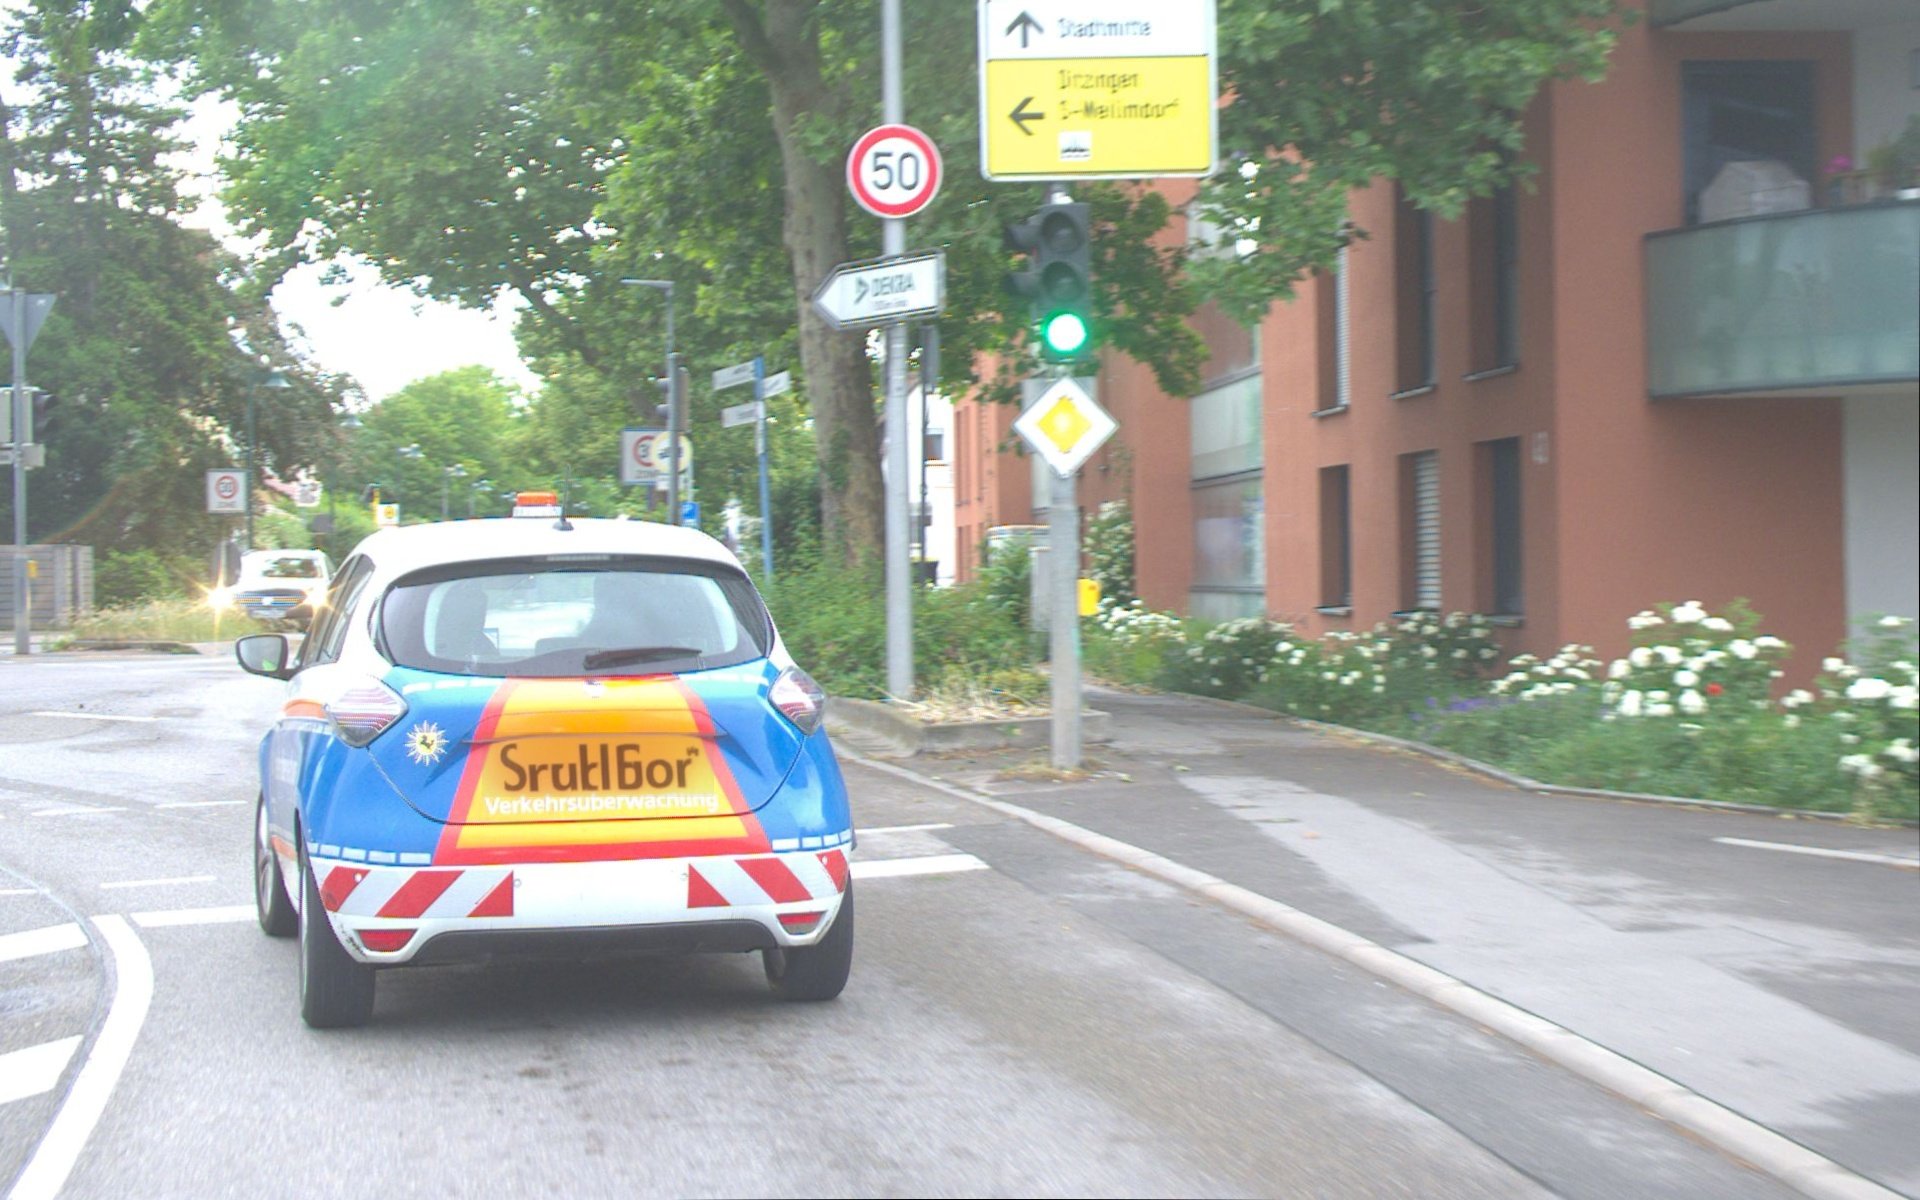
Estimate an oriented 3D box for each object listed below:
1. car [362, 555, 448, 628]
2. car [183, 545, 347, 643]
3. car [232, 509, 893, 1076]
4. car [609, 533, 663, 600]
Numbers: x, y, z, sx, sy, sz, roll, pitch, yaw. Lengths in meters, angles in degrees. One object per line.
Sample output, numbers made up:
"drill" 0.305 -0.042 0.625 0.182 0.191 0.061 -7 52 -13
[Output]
"car" -13.193 -0.233 81.915 1.877 1.663 3.715 0 1 -7
"car" -10.874 -0.106 54.041 1.941 1.447 4.300 1 0 -4
"car" -1.544 0.494 11.932 1.745 1.575 4.001 -2 2 -14
"car" -10.207 -1.074 108.595 1.643 2.010 3.716 0 2 -5
